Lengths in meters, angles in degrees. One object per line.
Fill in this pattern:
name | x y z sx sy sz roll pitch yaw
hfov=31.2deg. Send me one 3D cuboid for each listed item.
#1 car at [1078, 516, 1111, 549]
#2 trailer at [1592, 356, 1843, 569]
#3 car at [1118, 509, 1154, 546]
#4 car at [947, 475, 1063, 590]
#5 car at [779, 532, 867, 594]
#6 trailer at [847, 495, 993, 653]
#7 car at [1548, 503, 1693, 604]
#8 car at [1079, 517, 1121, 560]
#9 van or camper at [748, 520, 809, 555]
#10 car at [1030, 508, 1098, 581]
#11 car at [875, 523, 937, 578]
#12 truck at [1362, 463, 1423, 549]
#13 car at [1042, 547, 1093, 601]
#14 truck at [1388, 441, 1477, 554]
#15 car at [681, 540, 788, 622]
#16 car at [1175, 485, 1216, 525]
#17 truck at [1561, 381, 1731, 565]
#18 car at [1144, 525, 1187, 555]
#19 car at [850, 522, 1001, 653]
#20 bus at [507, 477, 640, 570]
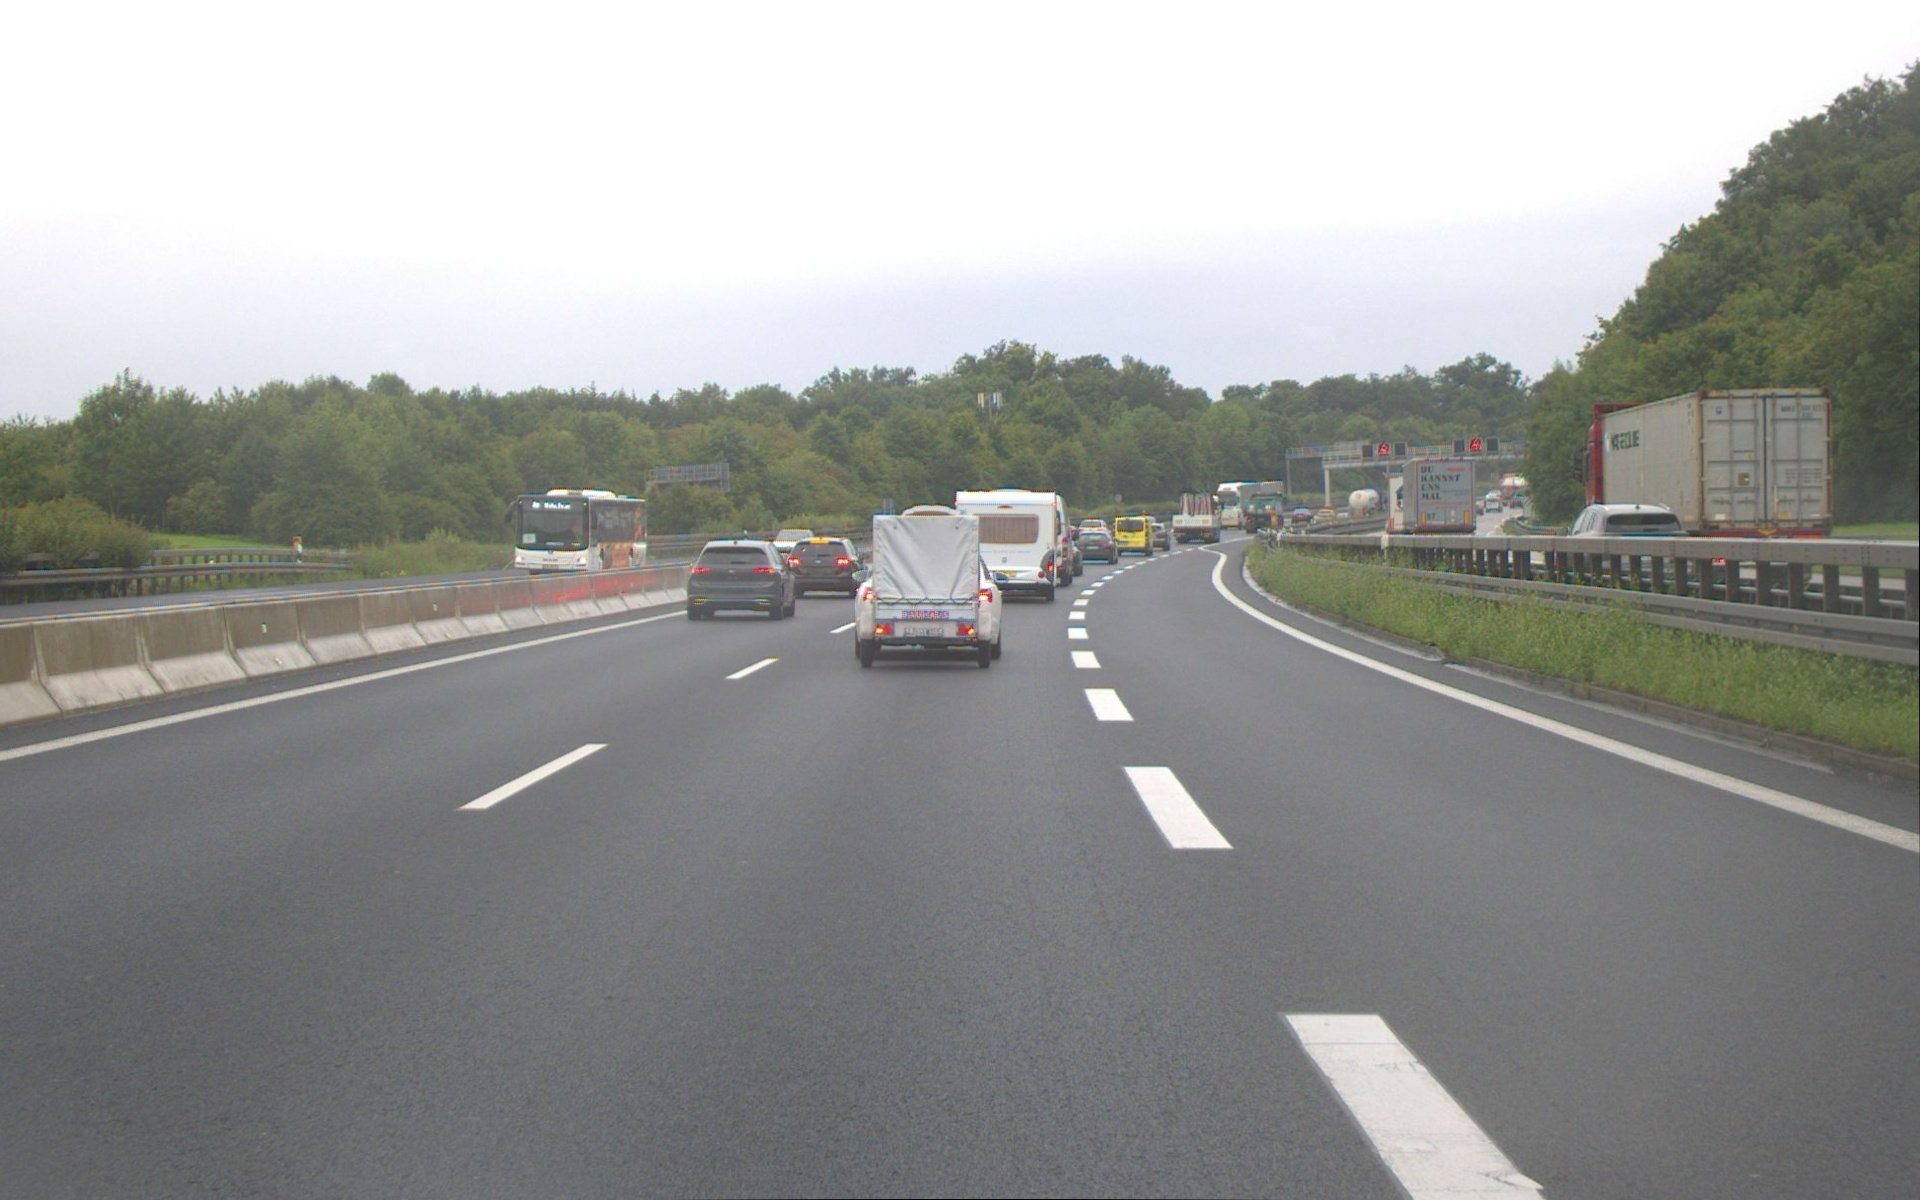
car | 8.362 -4.180 213.706 1.993 2.007 4.000 0 1 2
trailer | 15.019 -2.605 69.202 2.604 3.881 12.490 0 1 1
car | 8.956 -3.679 175.139 1.676 1.806 3.999 0 1 5
car | 1.101 -1.571 80.960 2.508 2.576 5.699 0 1 3
car | -3.301 -0.898 83.405 1.765 1.451 4.000 0 1 3
trailer | -0.445 -0.325 41.605 1.676 1.806 4.000 0 1 0
car | 11.068 -0.781 57.841 1.770 1.604 4.643 0 1 3
car | 5.946 -2.612 146.206 1.676 1.806 4.000 0 1 1
van or camper | -7.745 -2.672 147.055 1.748 1.442 4.584 -2 1 7
car | 3.057 -1.619 100.564 1.676 2.060 3.999 0 1 6
car | -1.624 -1.506 105.031 1.775 1.634 4.043 0 1 1
truck | 24.463 -5.239 193.981 3.216 4.650 13.029 0 1 8
car | 3.663 -0.891 117.601 1.676 1.806 4.000 0 1 1
truck | 20.414 -4.352 149.229 3.216 4.650 13.030 0 1 5
car | -4.162 -0.369 63.959 1.676 1.451 4.000 0 1 1
car | 15.651 -6.312 228.094 2.516 2.566 5.311 0 1 6
truck | 15.141 -2.741 76.278 2.616 3.871 6.392 0 1 1
car | 11.656 -3.419 195.016 2.038 1.677 3.999 0 1 9
car | -0.401 -0.191 45.086 1.818 1.610 4.778 0 1 1
bus | -13.441 -2.626 120.560 2.698 2.948 11.897 -4 1 2
